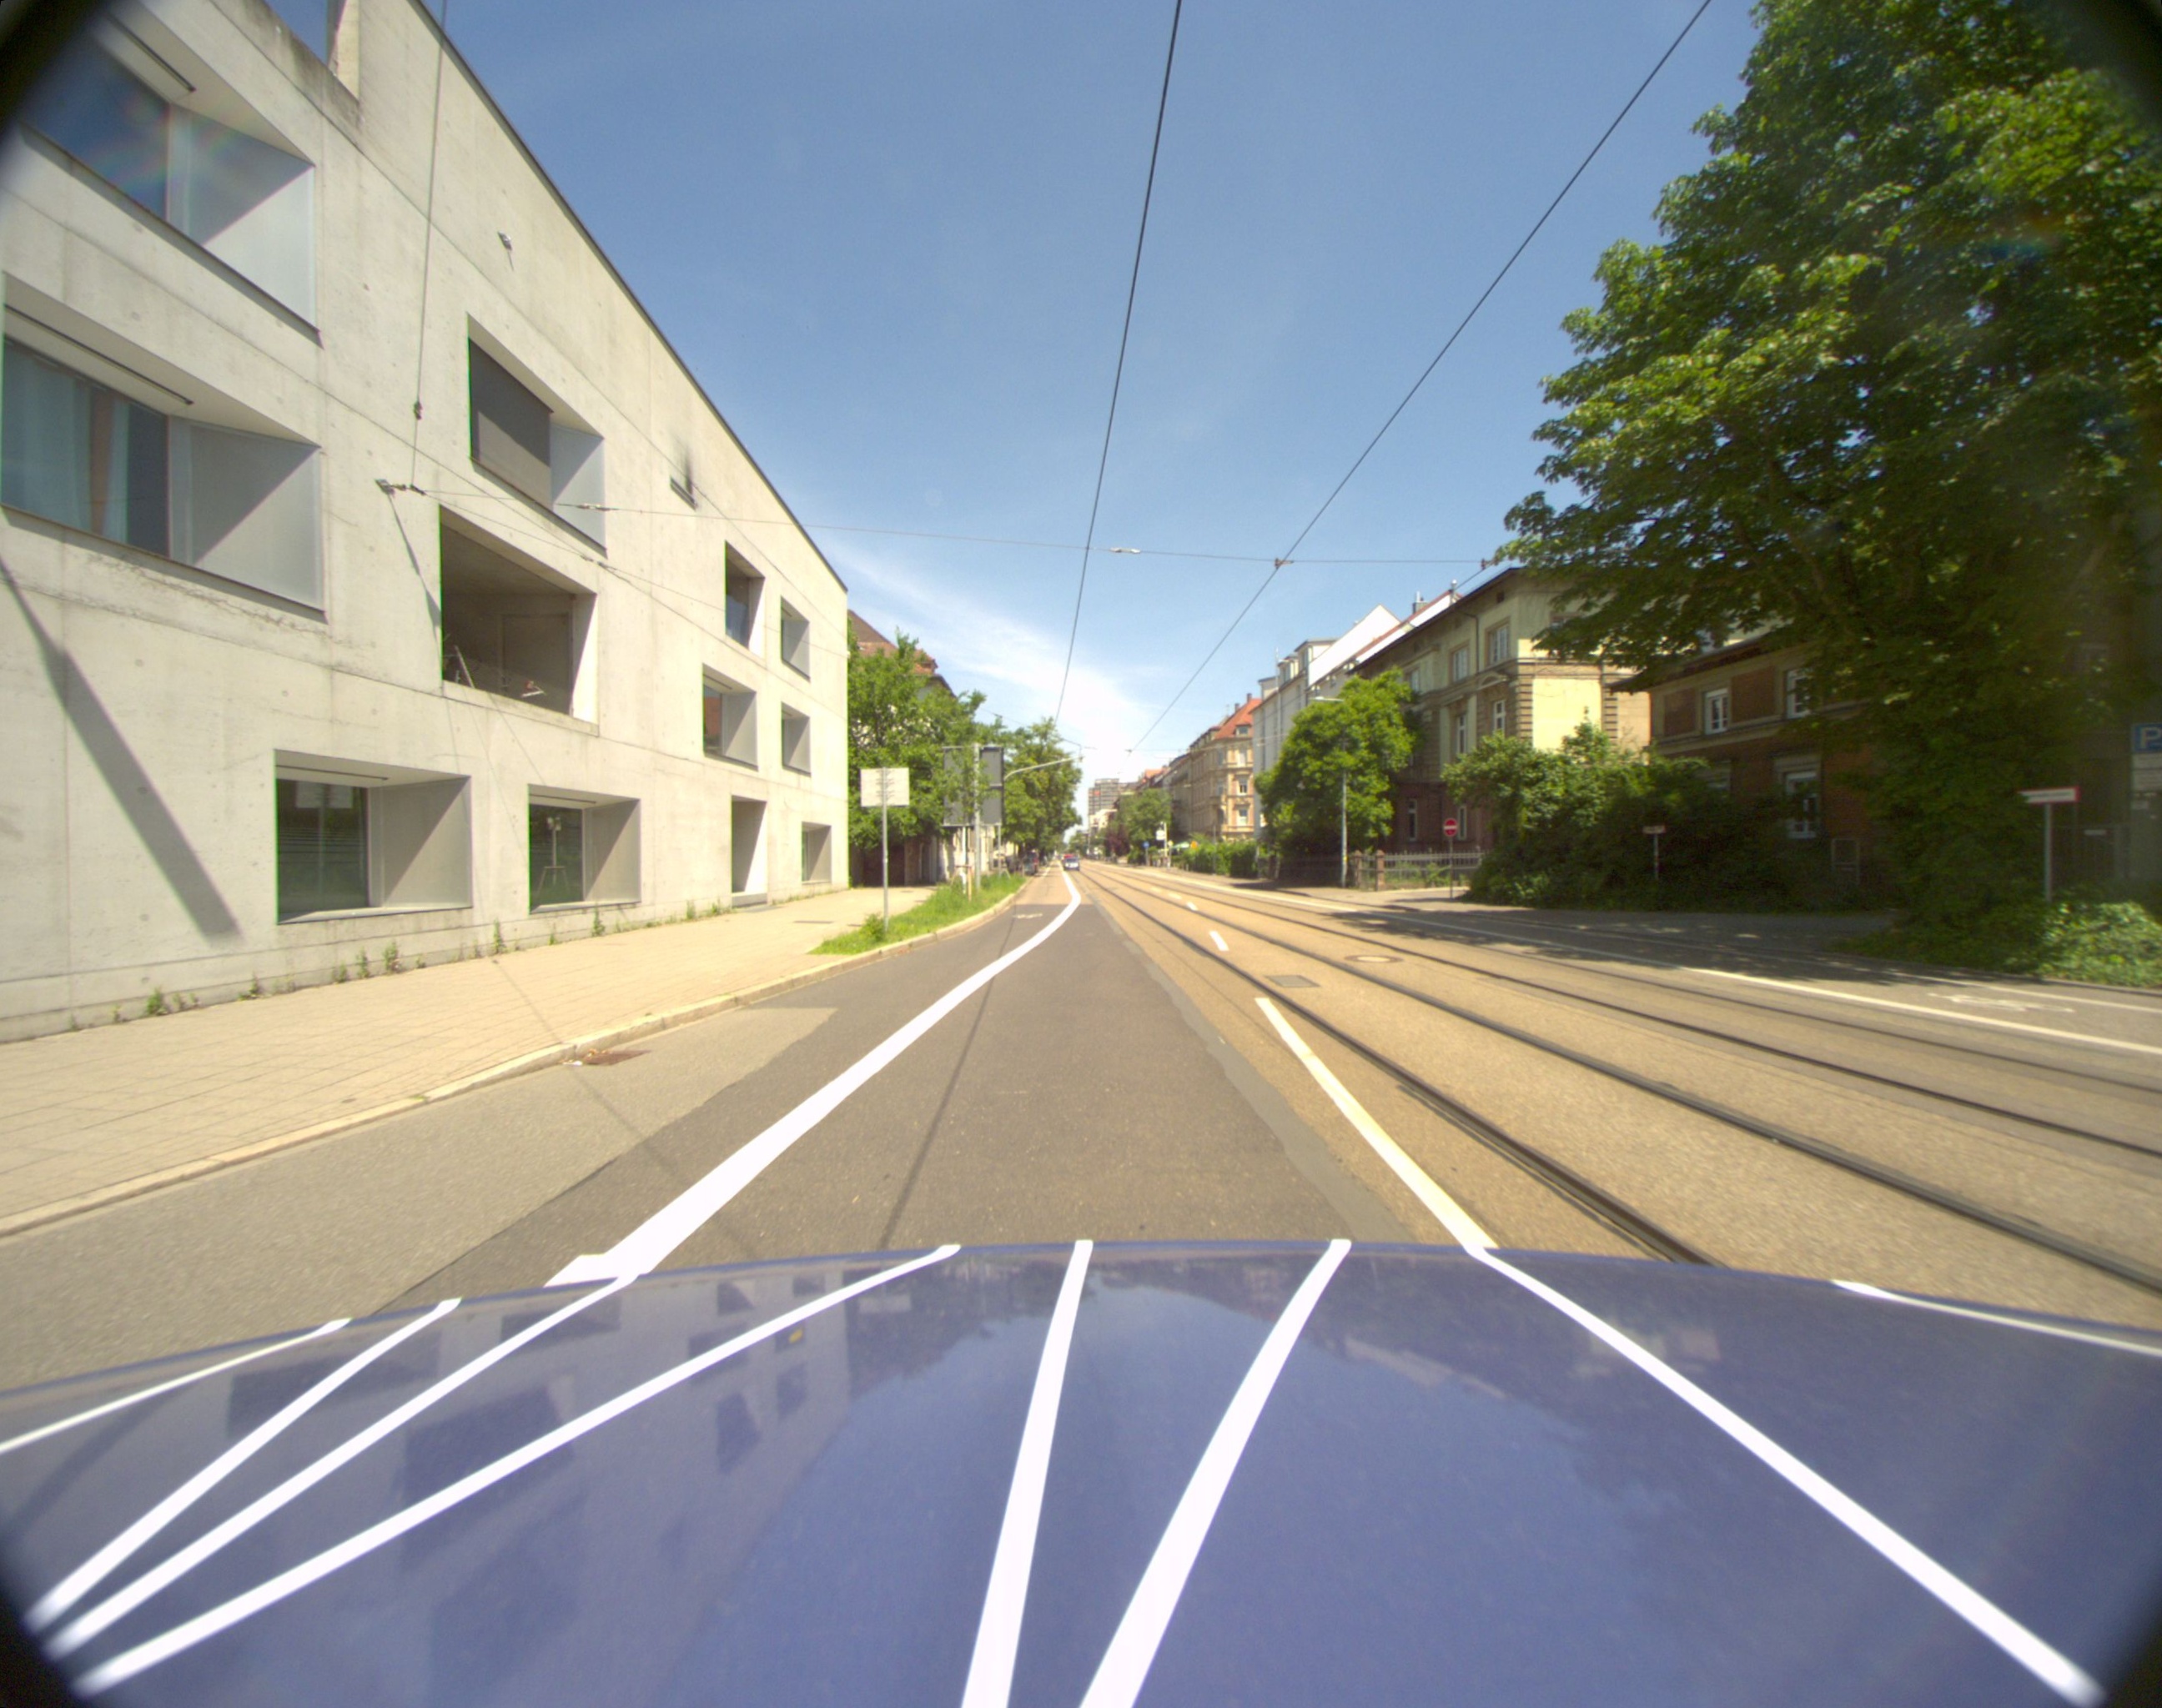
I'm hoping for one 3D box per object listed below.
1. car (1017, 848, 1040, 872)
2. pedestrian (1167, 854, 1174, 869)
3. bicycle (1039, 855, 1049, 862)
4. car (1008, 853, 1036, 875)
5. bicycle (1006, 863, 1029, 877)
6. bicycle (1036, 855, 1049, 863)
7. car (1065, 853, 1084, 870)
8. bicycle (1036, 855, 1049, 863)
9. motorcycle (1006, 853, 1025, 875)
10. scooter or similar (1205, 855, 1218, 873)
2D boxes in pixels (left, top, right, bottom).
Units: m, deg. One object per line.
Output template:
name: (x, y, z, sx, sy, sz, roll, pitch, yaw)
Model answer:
car: (-4.713, 0.501, 68.925, 1.864, 2.002, 4.974, -1, 1, -1)
pedestrian: (10.203, 0.858, 86.785, 0.742, 1.632, 0.939, 0, 1, 1)
bicycle: (-6.405, 0.784, 132.150, 1.623, 1.193, 0.305, -1, 1, 0)
car: (-4.625, 0.760, 60.272, 1.864, 1.568, 4.876, -1, 1, -1)
bicycle: (-4.712, 1.185, 56.743, 1.662, 1.010, 0.371, -1, 0, -1)
bicycle: (-6.285, 0.801, 122.699, 2.038, 1.193, 0.445, 0, 1, 8)
car: (-0.715, 0.771, 78.616, 1.893, 1.561, 4.036, -1, 1, -1)
bicycle: (-6.249, 0.816, 123.218, 2.038, 1.193, 0.445, -1, 1, 8)
motorcycle: (-4.575, 0.712, 53.156, 0.746, 1.497, 2.560, 0, 0, 10)
scooter or similar: (11.203, 0.850, 65.303, 1.011, 1.442, 0.597, -1, 1, -2)
